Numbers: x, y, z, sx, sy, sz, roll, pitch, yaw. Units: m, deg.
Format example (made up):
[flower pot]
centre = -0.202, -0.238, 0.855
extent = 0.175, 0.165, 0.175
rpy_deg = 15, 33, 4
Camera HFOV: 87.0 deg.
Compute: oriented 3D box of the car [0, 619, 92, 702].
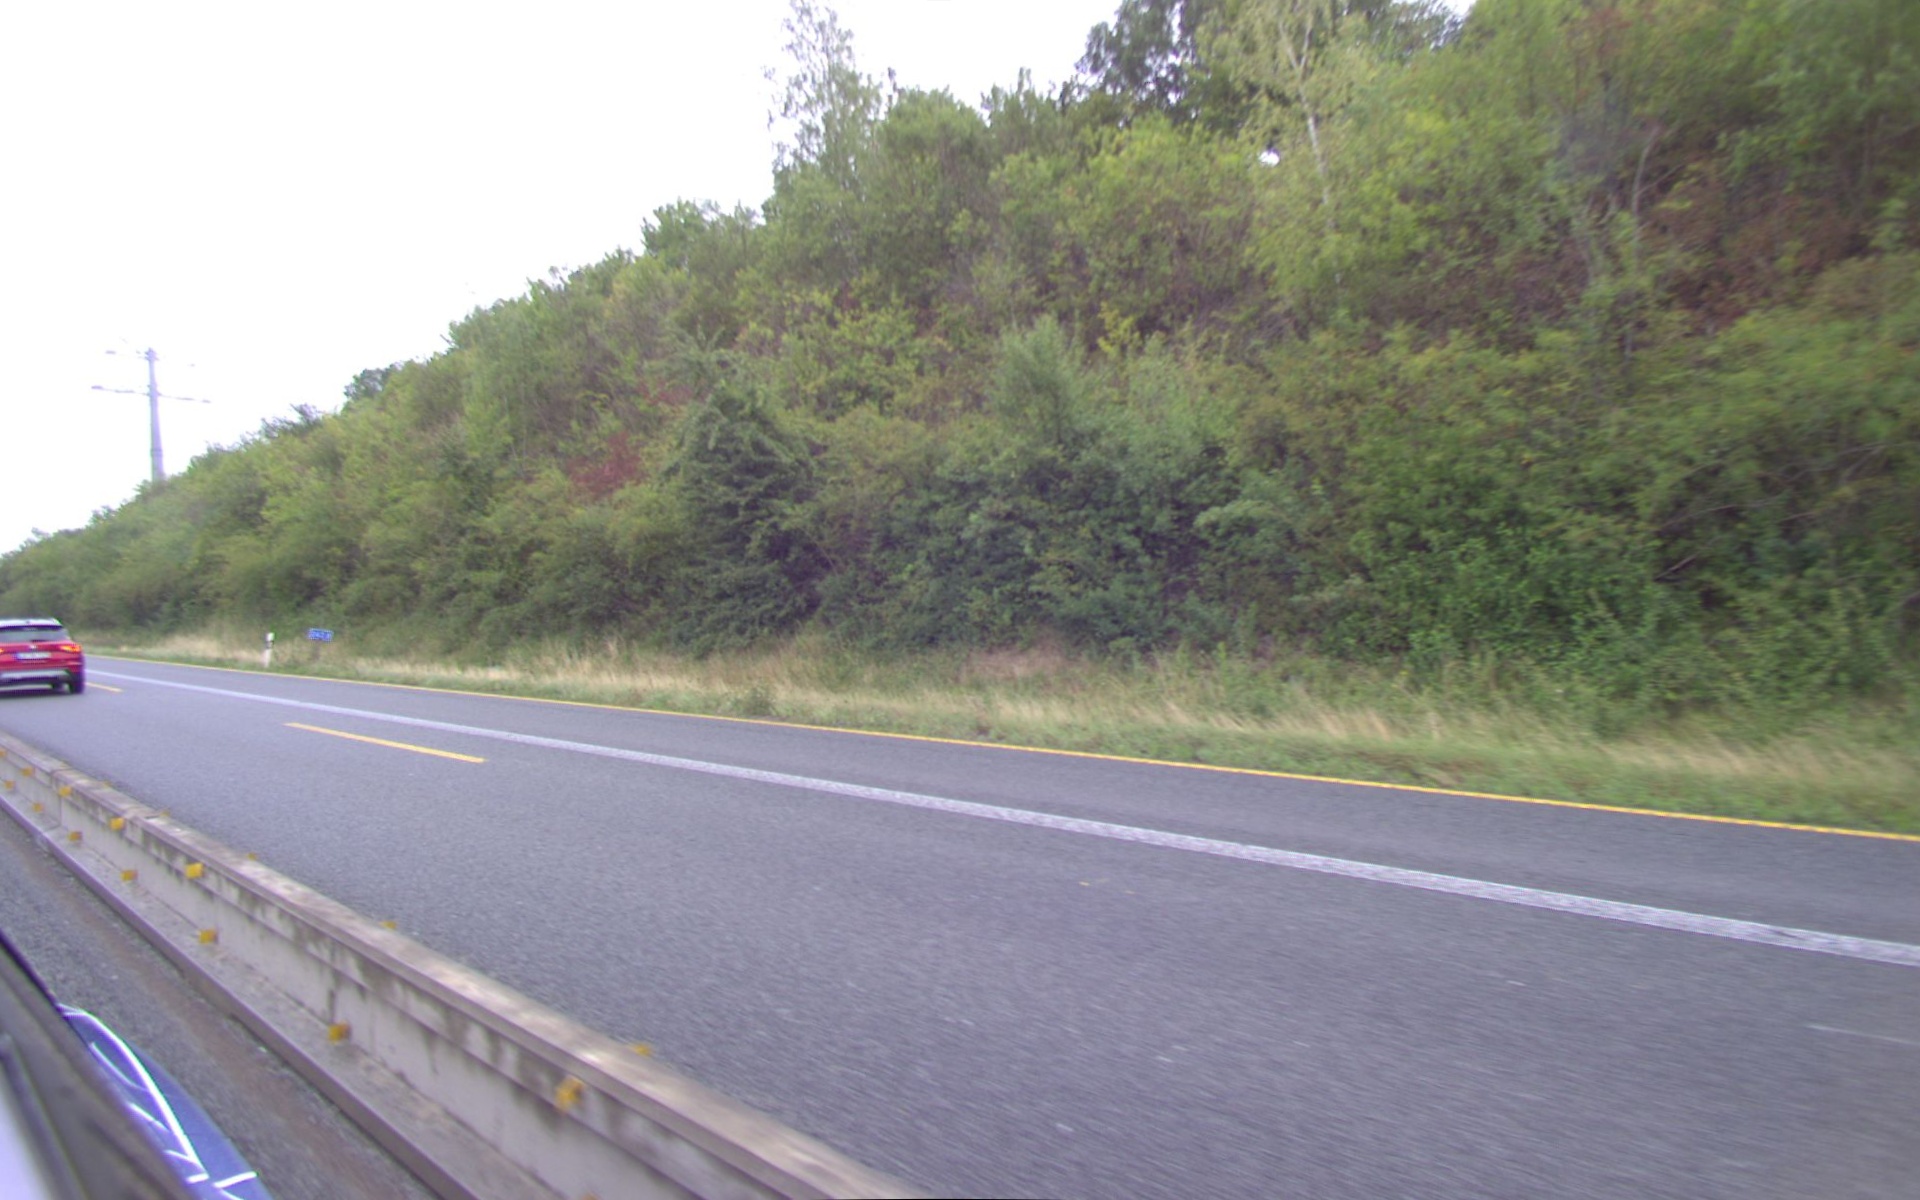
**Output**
[car]
centre = -19.490, 1.190, 20.930
extent = 3.998, 1.567, 1.776
rpy_deg = -1, 0, 41
